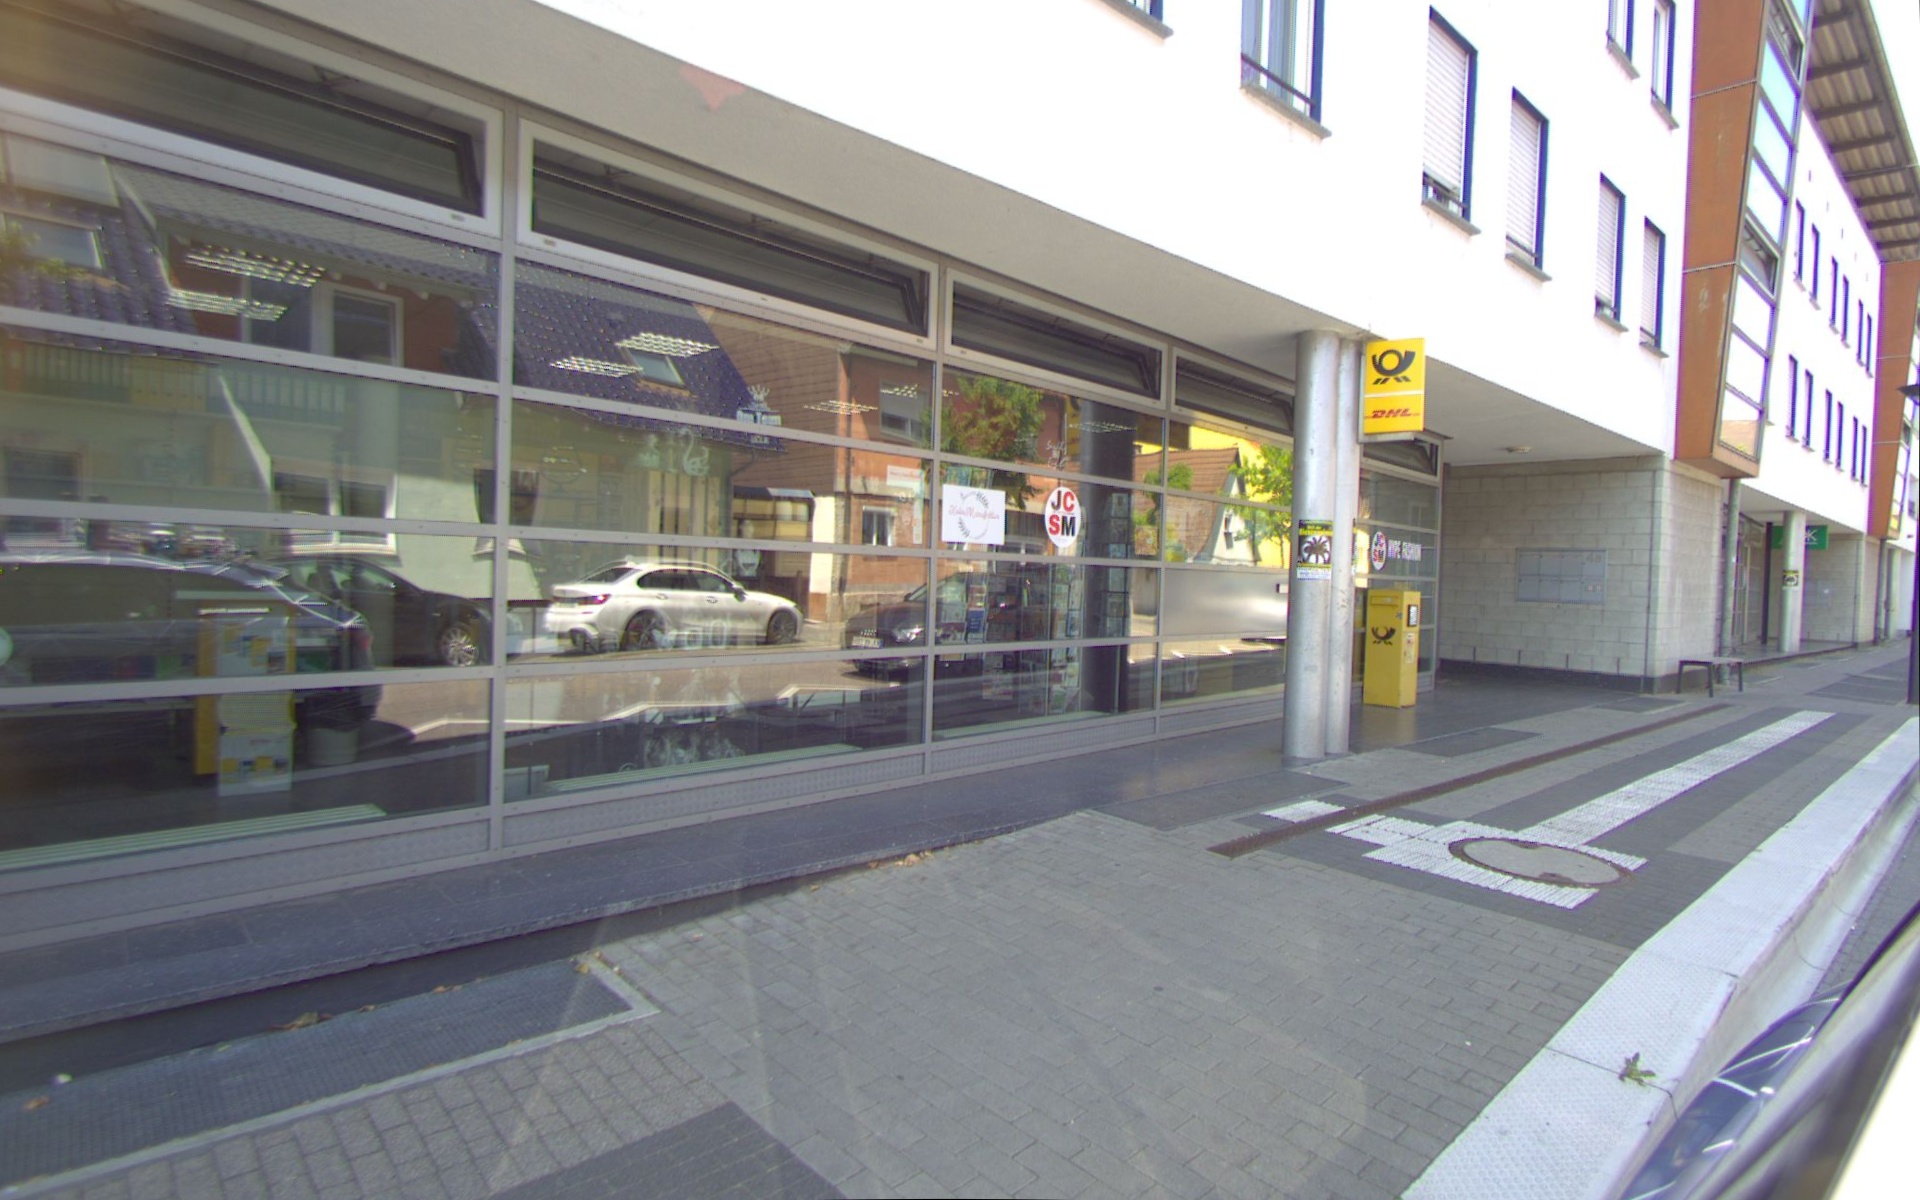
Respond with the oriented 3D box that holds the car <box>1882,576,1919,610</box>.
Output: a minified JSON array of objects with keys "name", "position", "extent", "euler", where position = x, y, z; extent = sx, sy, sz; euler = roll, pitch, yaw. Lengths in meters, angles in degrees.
[{"name":"car","position":[55.392,-0.350,57.490],"extent":[1.966,1.882,4.201],"euler":[0,3,-42]}]
